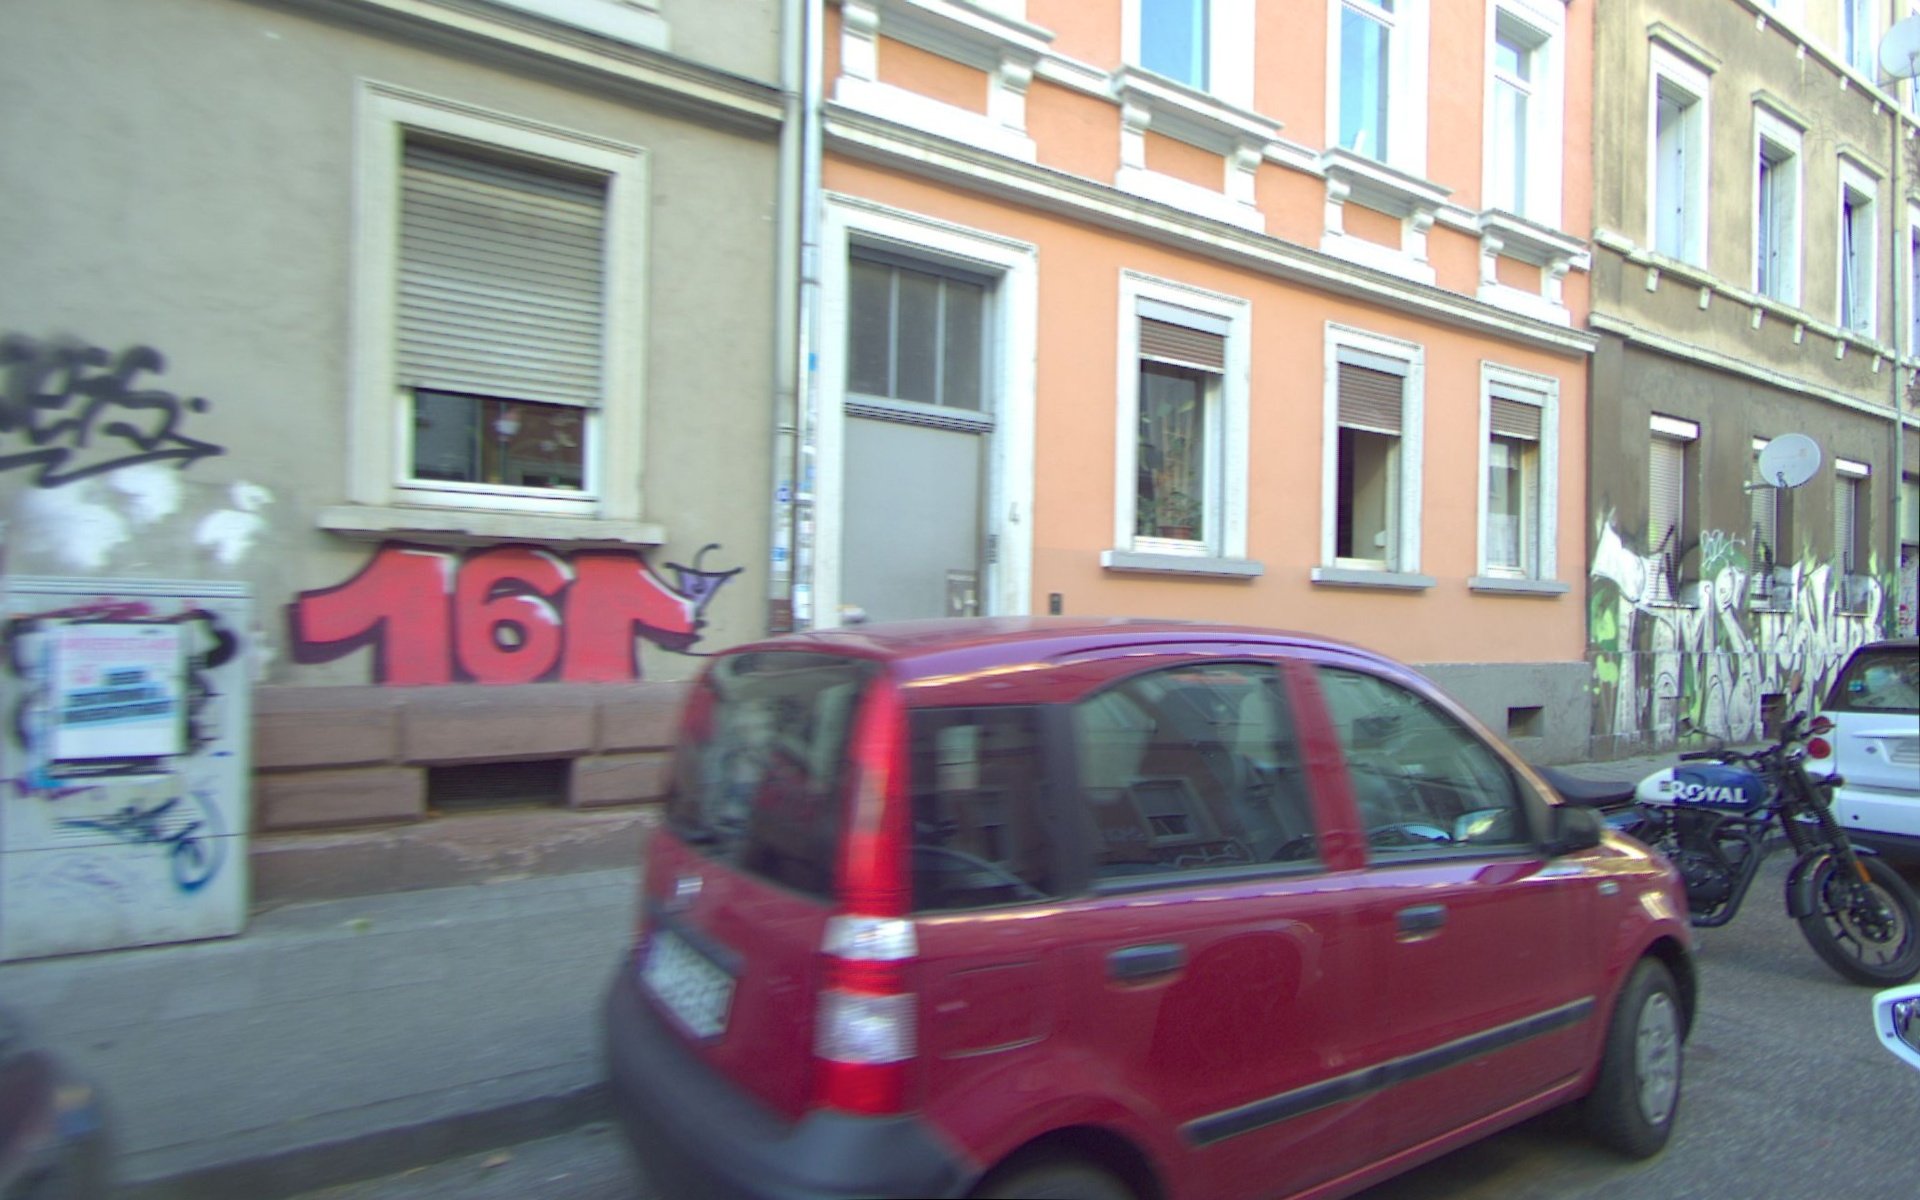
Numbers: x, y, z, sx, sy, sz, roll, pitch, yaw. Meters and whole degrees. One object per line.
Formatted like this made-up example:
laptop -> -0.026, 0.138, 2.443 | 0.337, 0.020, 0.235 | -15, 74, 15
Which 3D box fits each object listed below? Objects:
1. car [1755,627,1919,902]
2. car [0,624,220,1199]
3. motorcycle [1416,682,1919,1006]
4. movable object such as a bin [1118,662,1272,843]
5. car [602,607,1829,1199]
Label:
car -> 6.749, 0.977, 6.539 | 2.930, 1.569, 1.669 | 2, -2, -34
car -> -3.183, 0.741, 0.553 | 4.262, 1.482, 1.671 | 2, -1, -31
motorcycle -> 3.476, 1.076, 4.996 | 2.049, 1.143, 0.787 | 2, 0, 39
movable object such as a bin -> 1.561, 0.981, 6.749 | 0.652, 1.063, 0.776 | 1, 1, -22
car -> 0.914, 0.818, 3.122 | 3.570, 1.512, 1.671 | 2, -1, -30
